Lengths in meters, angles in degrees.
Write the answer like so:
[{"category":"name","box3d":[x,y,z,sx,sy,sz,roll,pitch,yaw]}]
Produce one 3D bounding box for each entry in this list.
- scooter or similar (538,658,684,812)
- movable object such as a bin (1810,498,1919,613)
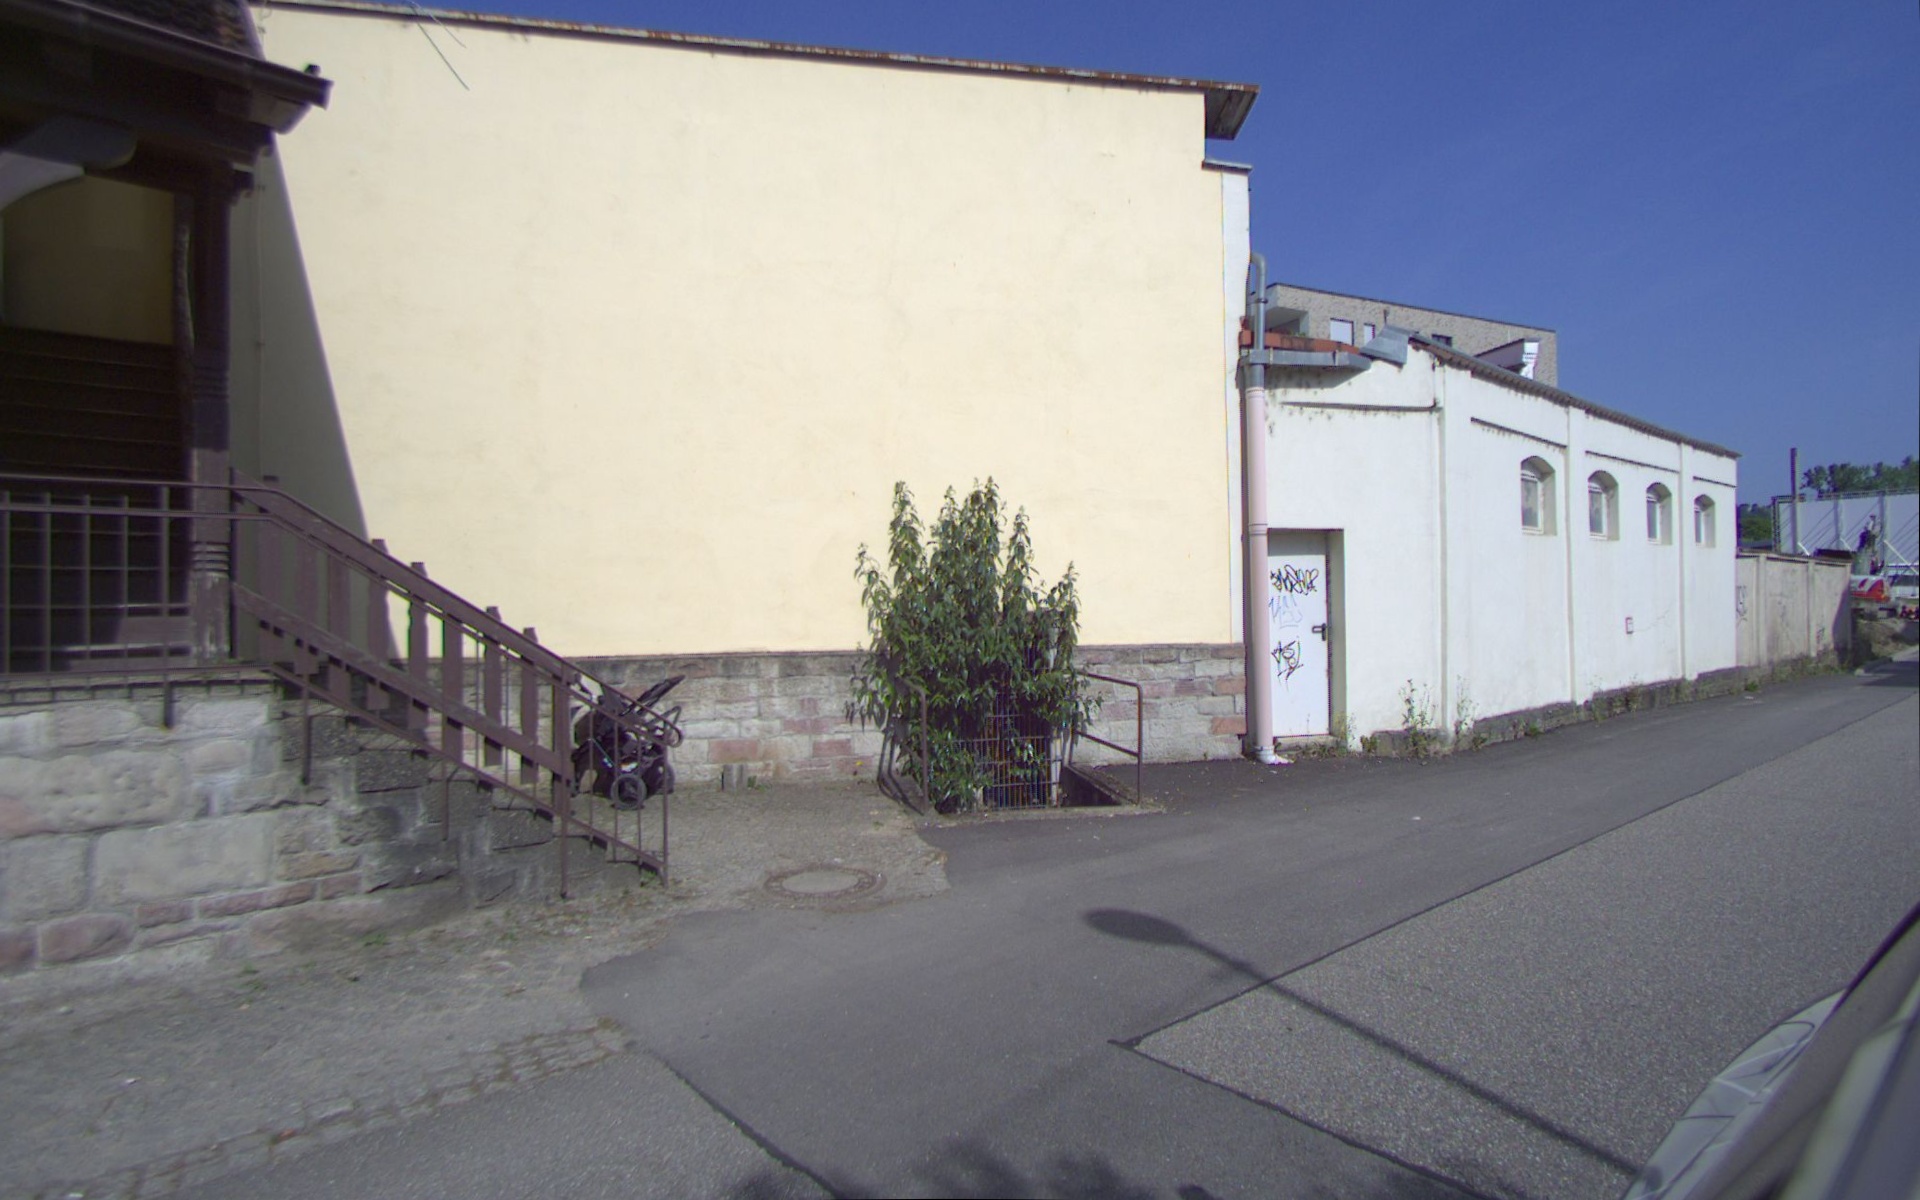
[{"category":"scooter or similar","box3d":[-2.682,1.017,7.852,0.989,1.077,0.623,0,0,-10]},{"category":"movable object such as a bin","box3d":[34.937,-1.617,38.338,7.654,3.904,2.300,-1,-3,-37]}]
